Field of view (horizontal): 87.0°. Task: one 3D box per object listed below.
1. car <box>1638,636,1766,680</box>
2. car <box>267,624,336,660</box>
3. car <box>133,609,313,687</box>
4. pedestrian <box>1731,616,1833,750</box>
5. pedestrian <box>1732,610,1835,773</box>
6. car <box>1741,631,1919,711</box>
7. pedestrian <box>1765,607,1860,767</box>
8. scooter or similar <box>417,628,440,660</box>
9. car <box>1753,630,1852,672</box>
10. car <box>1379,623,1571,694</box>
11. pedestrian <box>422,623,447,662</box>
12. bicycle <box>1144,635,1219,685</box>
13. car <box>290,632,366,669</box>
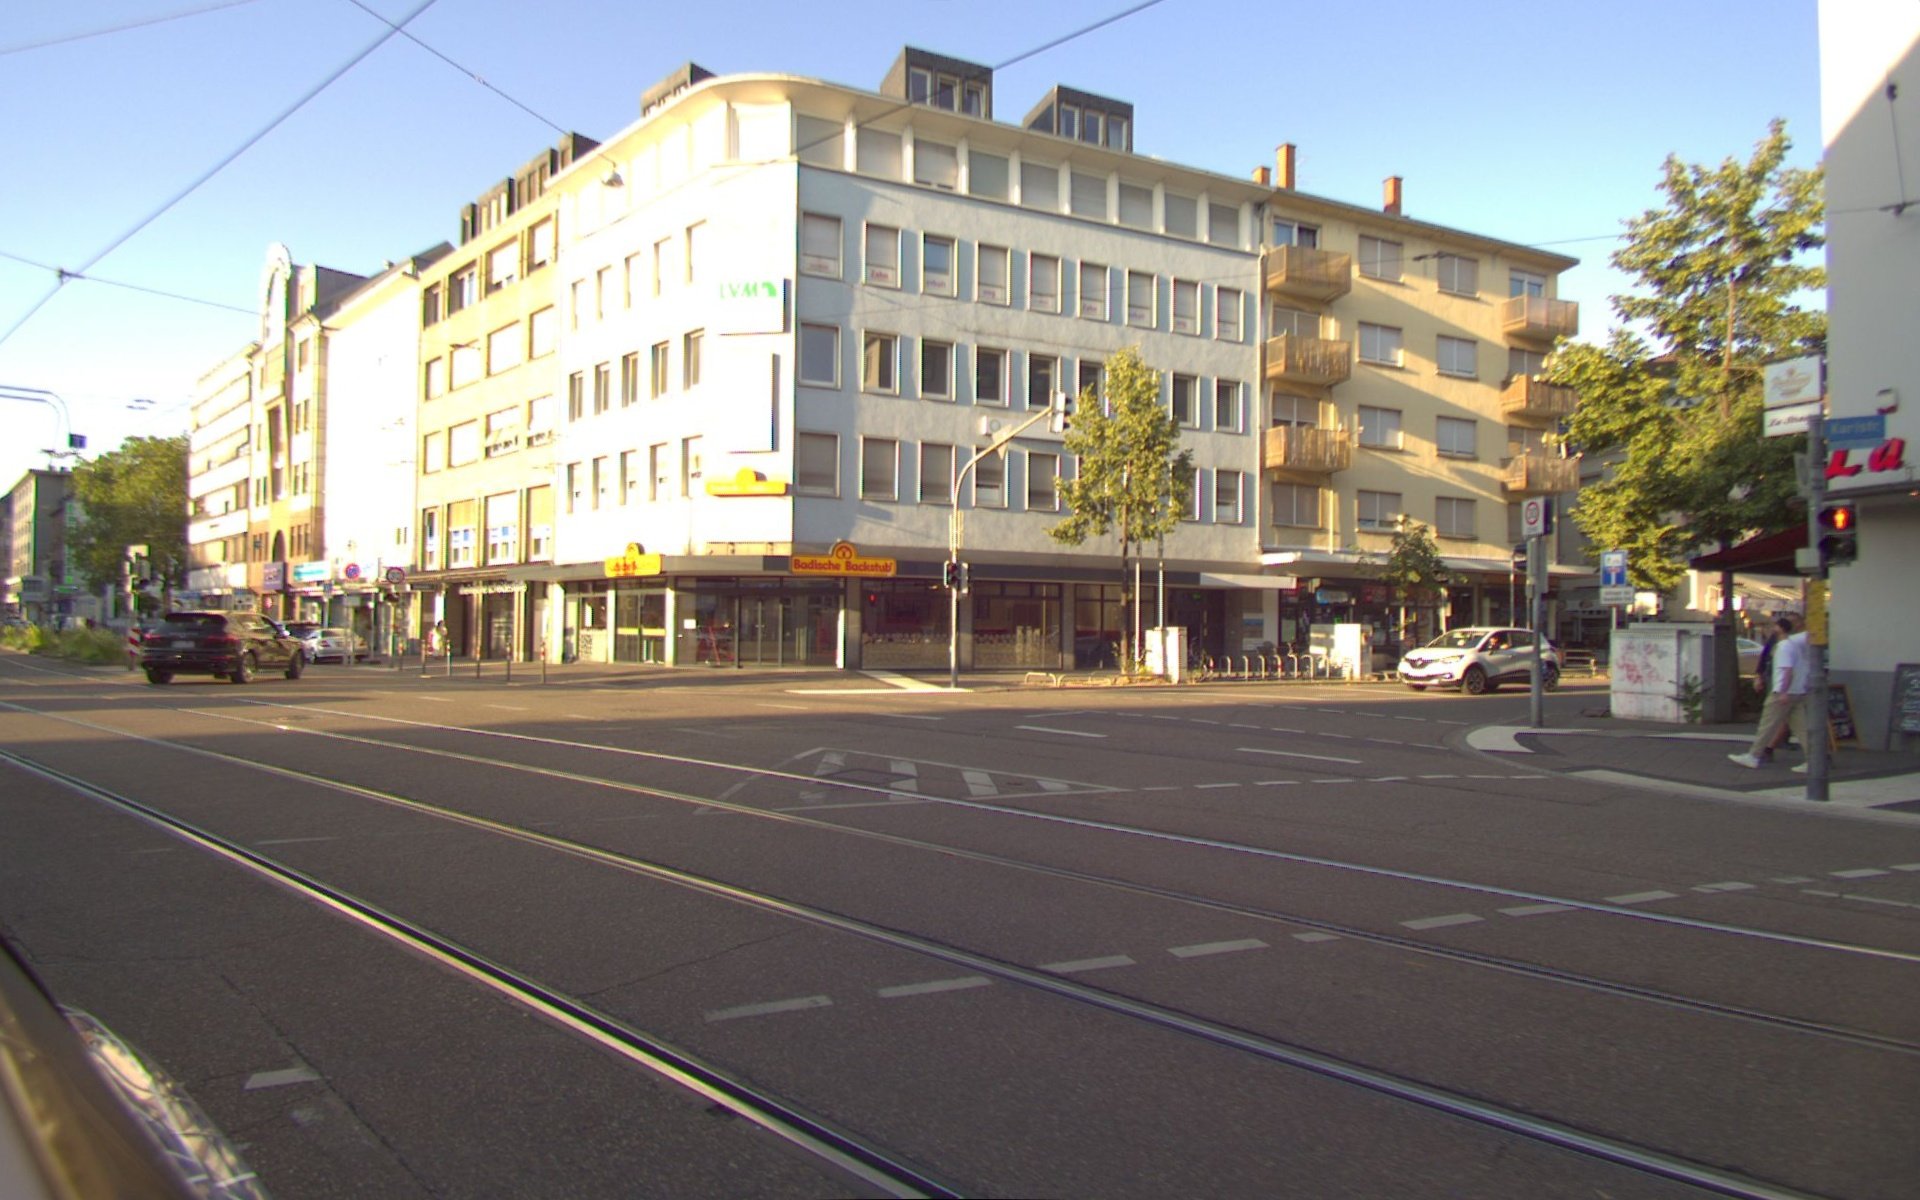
[{"bbox_3d":[24.606,1.895,33.562,3.745,1.360,1.862,1,-3,-27],"label":"car"},{"bbox_3d":[-27.183,1.729,41.772,3.389,1.364,1.614,-2,0,43],"label":"car"},{"bbox_3d":[-17.618,1.142,24.505,1.776,1.711,4.580,1,-2,-12],"label":"car"},{"bbox_3d":[10.647,1.052,13.127,0.703,1.689,0.704,0,-2,-3],"label":"pedestrian"},{"bbox_3d":[9.255,1.001,11.390,0.627,1.758,0.671,1,-2,-25],"label":"pedestrian"},{"bbox_3d":[17.471,1.358,19.967,3.544,1.455,1.651,1,-2,-21],"label":"car"},{"bbox_3d":[9.852,0.981,11.704,0.627,1.792,0.602,1,-2,-25],"label":"pedestrian"},{"bbox_3d":[-21.602,1.781,41.138,1.467,1.268,0.390,-2,-1,44],"label":"scooter or similar"},{"bbox_3d":[33.286,1.992,39.993,3.436,1.565,1.675,1,-2,-25],"label":"car"},{"bbox_3d":[12.328,1.406,24.263,3.943,1.568,2.121,2,-3,-26],"label":"car"},{"bbox_3d":[-20.524,1.670,39.538,0.622,1.483,0.539,-2,0,27],"label":"pedestrian"},{"bbox_3d":[6.212,1.678,28.530,0.629,1.262,2.382,2,-1,-28],"label":"bicycle"},{"bbox_3d":[-23.955,1.877,38.333,3.389,1.263,1.614,-2,0,43],"label":"car"}]
